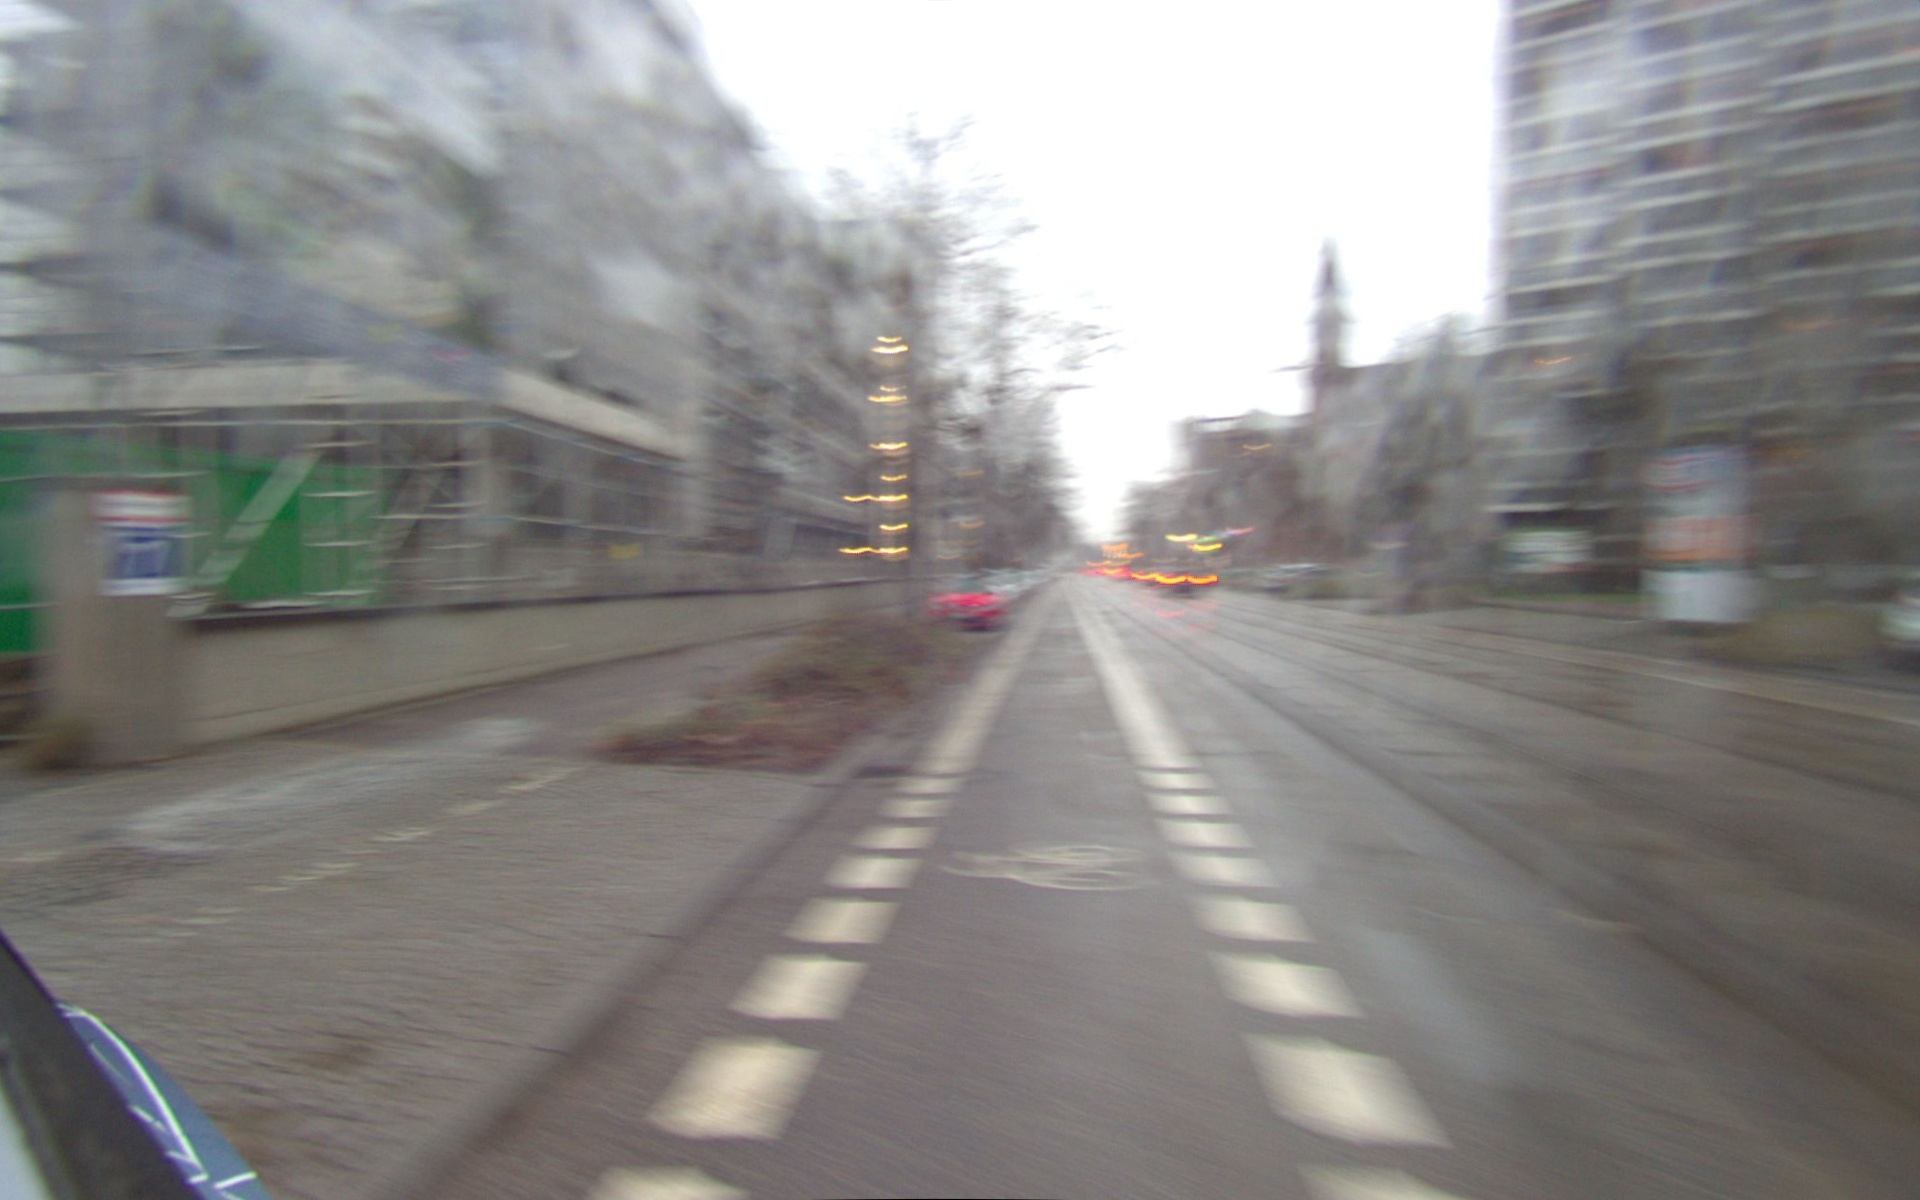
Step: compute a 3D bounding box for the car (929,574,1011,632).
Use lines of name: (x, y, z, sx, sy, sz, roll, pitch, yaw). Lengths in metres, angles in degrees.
car: (0.340, 0.035, 26.716, 1.734, 1.397, 3.728, 1, 1, 8)

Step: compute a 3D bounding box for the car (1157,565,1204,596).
car: (11.471, -1.002, 52.921, 1.730, 1.556, 4.291, 1, 1, 4)

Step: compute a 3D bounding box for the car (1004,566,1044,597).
car: (3.541, -1.031, 55.416, 1.846, 1.605, 3.990, 1, 1, 8)

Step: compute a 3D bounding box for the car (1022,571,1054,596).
car: (5.152, -1.075, 66.279, 1.846, 1.605, 3.990, 1, 1, 8)

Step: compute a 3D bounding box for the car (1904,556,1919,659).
car: (15.229, 0.109, 14.417, 3.934, 1.410, 1.861, 0, 1, -36)

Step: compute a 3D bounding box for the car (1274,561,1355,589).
car: (19.333, -1.374, 55.343, 3.959, 1.497, 1.665, 1, 1, 13)

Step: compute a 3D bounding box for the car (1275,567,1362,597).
car: (18.263, -0.922, 51.660, 3.959, 1.497, 1.665, 1, 1, 13)

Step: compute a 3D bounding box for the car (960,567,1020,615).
car: (1.109, -0.334, 35.587, 1.734, 1.596, 3.728, 1, 1, 8)

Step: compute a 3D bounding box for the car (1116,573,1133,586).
car: (18.946, -2.390, 116.766, 1.745, 1.421, 3.993, 1, 1, 6)

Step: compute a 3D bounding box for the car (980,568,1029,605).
car: (2.085, -0.618, 46.203, 1.846, 1.605, 3.990, 1, 1, 8)

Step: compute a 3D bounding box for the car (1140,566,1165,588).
car: (14.889, -1.775, 78.438, 1.693, 1.590, 4.368, 1, 1, 8)

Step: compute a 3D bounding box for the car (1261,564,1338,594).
car: (19.490, -1.232, 58.261, 3.959, 1.652, 1.992, 1, 1, 13)
